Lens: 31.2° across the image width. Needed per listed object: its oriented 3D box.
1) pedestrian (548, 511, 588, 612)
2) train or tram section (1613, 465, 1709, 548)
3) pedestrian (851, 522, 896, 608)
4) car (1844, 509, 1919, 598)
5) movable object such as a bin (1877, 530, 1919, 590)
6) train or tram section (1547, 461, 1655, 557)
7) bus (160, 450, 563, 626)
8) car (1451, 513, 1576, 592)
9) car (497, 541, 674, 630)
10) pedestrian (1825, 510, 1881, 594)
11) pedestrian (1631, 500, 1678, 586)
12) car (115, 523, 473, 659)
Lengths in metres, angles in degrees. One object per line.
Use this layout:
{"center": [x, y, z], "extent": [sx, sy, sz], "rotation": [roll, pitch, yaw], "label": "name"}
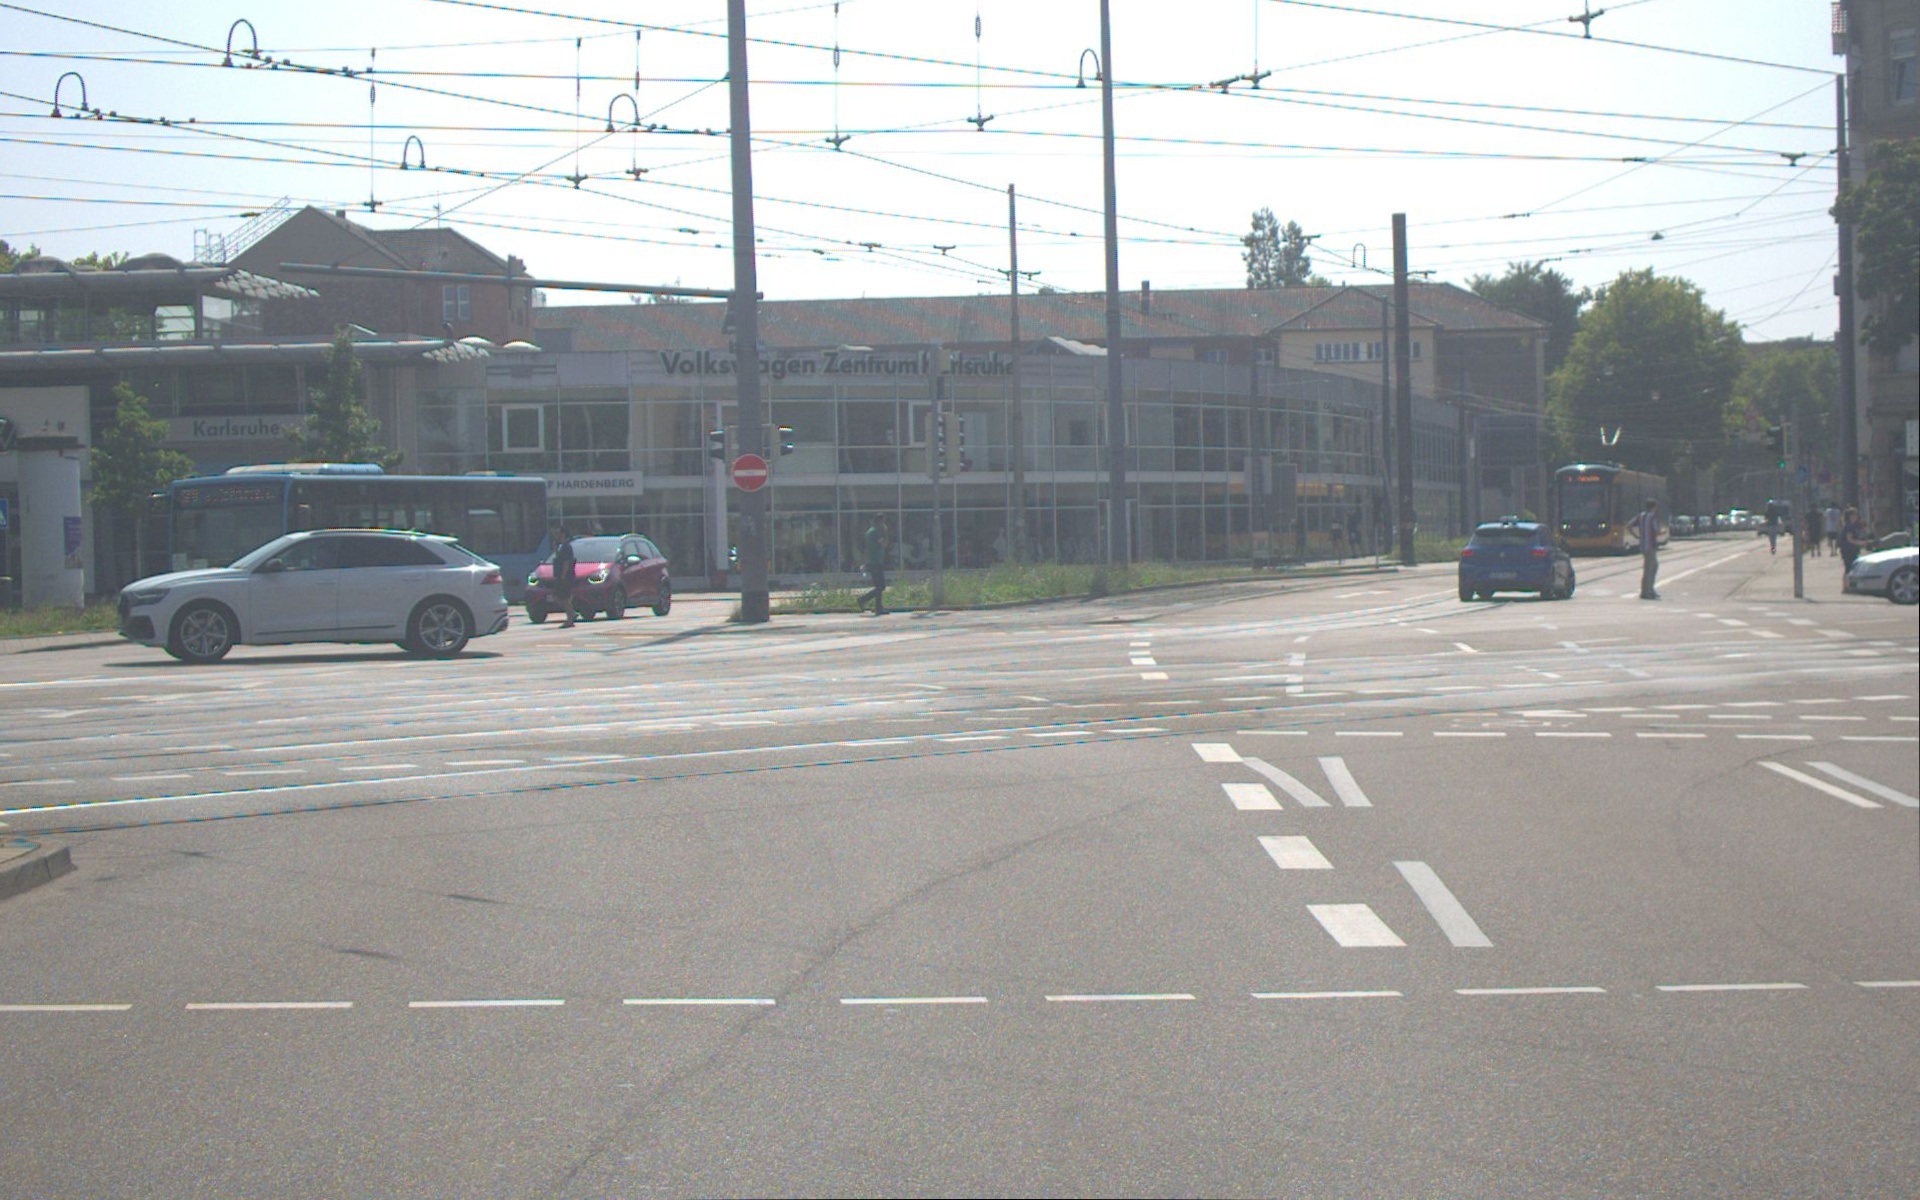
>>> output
{"center": [-6.602, -0.645, 57.835], "extent": [0.552, 1.678, 0.454], "rotation": [-1, 1, -18], "label": "pedestrian"}
{"center": [31.413, -4.140, 153.625], "extent": [2.590, 3.504, 12.961], "rotation": [-1, 1, 19], "label": "train or tram section"}
{"center": [-1.481, -0.602, 58.829], "extent": [0.676, 1.438, 0.366], "rotation": [-1, 1, -17], "label": "pedestrian"}
{"center": [16.731, -0.797, 56.340], "extent": [4.176, 1.411, 1.775], "rotation": [-1, 1, 9], "label": "car"}
{"center": [17.422, -0.742, 63.403], "extent": [0.812, 1.073, 0.512], "rotation": [-1, 1, -11], "label": "movable object such as a bin"}
{"center": [24.873, -3.498, 132.981], "extent": [2.590, 3.504, 10.889], "rotation": [-1, 1, 19], "label": "train or tram section"}
{"center": [-11.308, -1.235, 66.796], "extent": [2.564, 3.072, 12.014], "rotation": [-1, 1, 17], "label": "bus"}
{"center": [10.298, -0.898, 63.780], "extent": [1.592, 1.389, 3.996], "rotation": [-1, 1, 19], "label": "car"}
{"center": [-6.884, -0.290, 63.563], "extent": [1.751, 1.546, 3.997], "rotation": [-1, 1, 18], "label": "car"}
{"center": [16.533, -0.885, 63.662], "extent": [0.850, 1.539, 0.529], "rotation": [-1, 1, -8], "label": "pedestrian"}
{"center": [13.014, -1.070, 64.440], "extent": [0.699, 1.597, 0.573], "rotation": [-1, 1, -8], "label": "pedestrian"}
{"center": [-8.583, -0.139, 44.247], "extent": [4.320, 1.612, 1.755], "rotation": [-2, 1, -17], "label": "car"}
